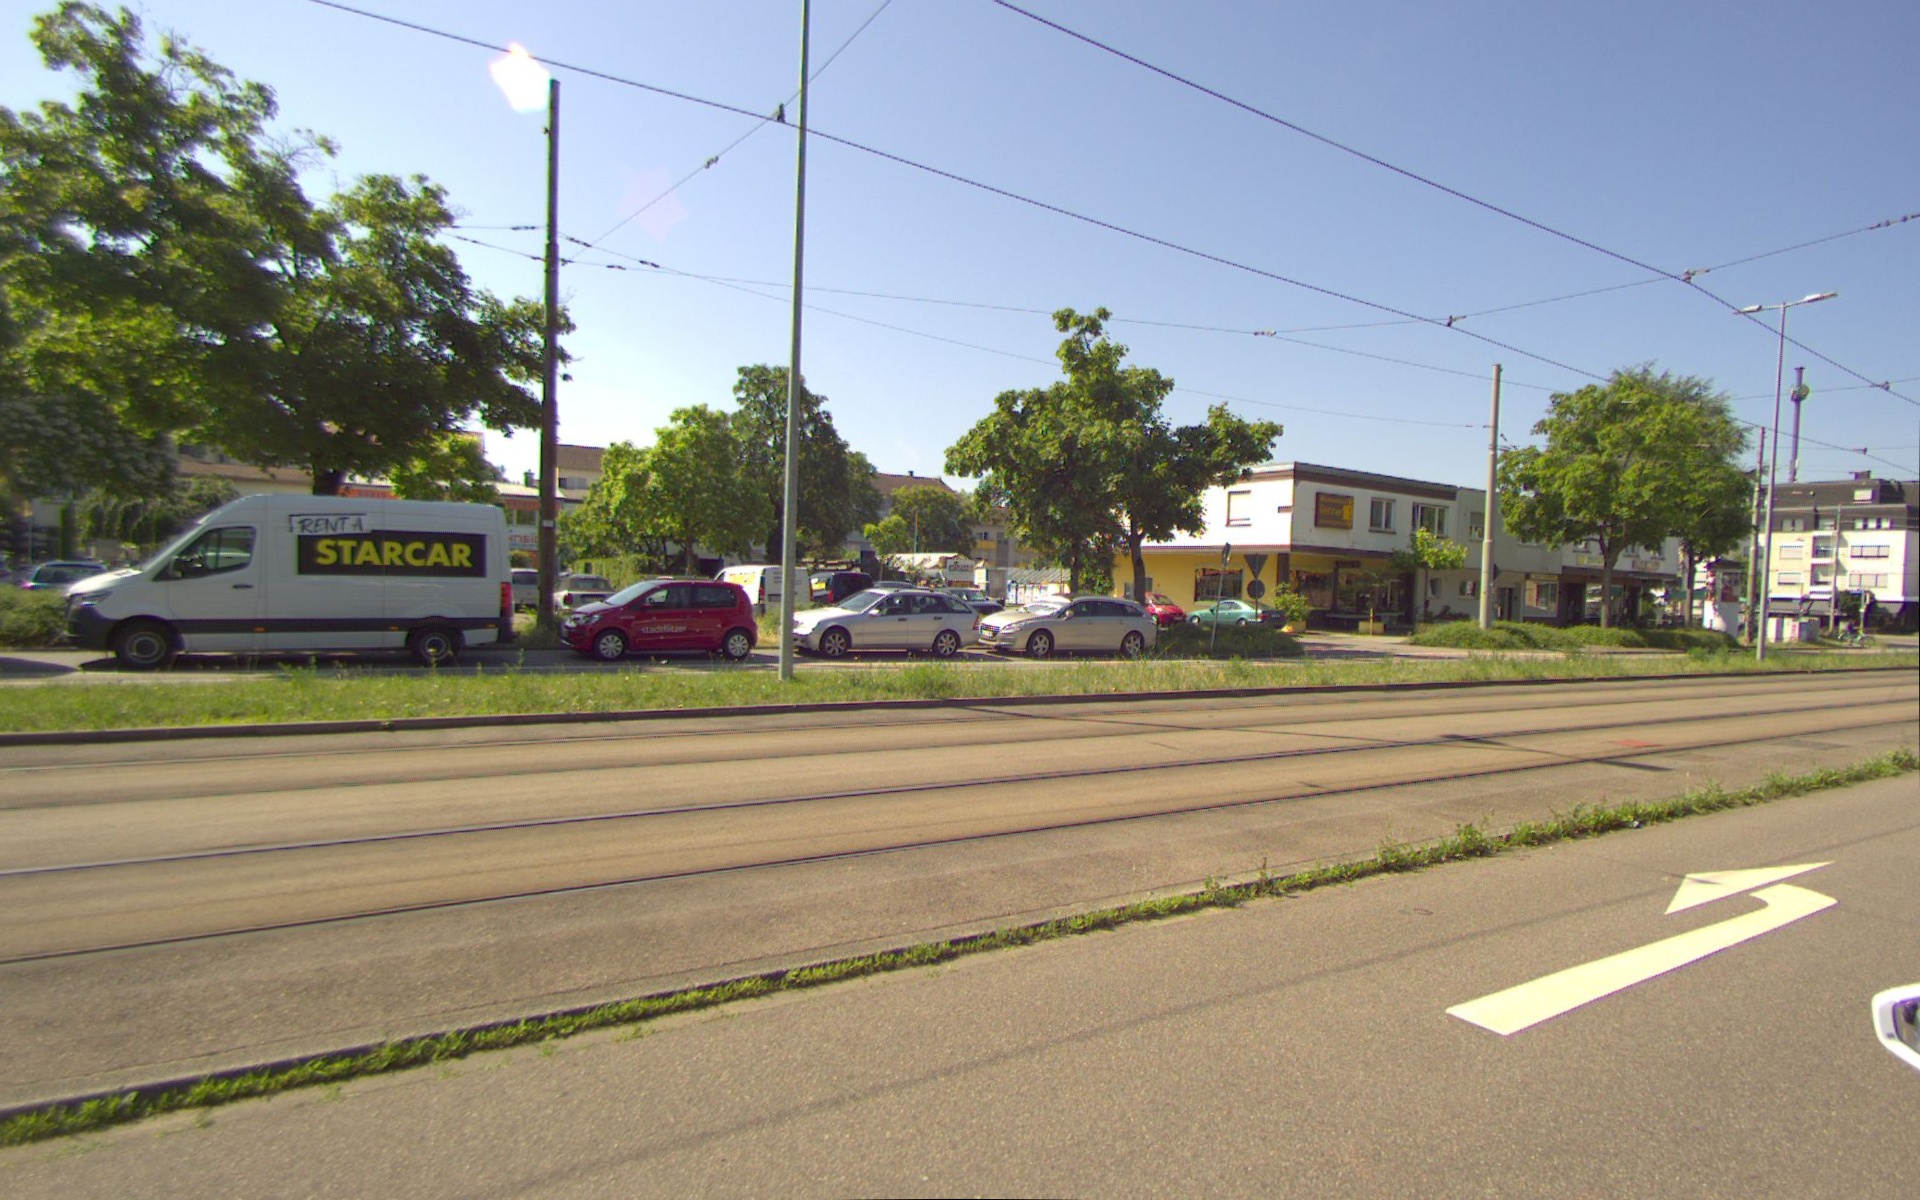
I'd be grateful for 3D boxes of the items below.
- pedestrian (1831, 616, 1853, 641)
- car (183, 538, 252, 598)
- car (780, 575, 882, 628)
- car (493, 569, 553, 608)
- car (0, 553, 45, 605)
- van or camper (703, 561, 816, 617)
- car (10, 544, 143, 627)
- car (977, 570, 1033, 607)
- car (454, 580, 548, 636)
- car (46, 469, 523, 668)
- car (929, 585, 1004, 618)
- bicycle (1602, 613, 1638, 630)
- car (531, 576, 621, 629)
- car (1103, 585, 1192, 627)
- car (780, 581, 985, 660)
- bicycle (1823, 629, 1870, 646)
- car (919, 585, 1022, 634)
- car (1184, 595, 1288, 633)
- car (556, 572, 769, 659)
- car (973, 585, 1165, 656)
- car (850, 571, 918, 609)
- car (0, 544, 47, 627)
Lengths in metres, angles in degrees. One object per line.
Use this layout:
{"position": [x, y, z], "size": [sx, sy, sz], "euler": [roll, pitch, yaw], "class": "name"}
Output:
{"position": [54.353, 1.744, 61.877], "size": [0.799, 1.507, 0.566], "euler": [2, 1, 12], "class": "pedestrian"}
{"position": [-27.183, -1.148, 36.876], "size": [1.892, 2.030, 3.960], "euler": [1, 1, -35], "class": "car"}
{"position": [-4.226, 0.031, 32.420], "size": [1.646, 1.584, 3.962], "euler": [1, 0, -34], "class": "car"}
{"position": [-17.196, -0.469, 39.430], "size": [1.516, 1.444, 3.822], "euler": [1, 1, -34], "class": "car"}
{"position": [-30.344, -0.695, 31.633], "size": [1.768, 1.565, 3.960], "euler": [1, 1, -35], "class": "car"}
{"position": [-6.233, -0.345, 30.909], "size": [1.859, 1.584, 3.957], "euler": [1, 0, -37], "class": "van or camper"}
{"position": [-20.168, -0.339, 23.091], "size": [1.645, 1.717, 3.964], "euler": [1, 1, -32], "class": "car"}
{"position": [2.965, -0.774, 66.894], "size": [3.376, 2.306, 1.475], "euler": [1, 1, -23], "class": "car"}
{"position": [-12.486, 0.189, 27.201], "size": [1.643, 1.389, 3.961], "euler": [1, 0, -34], "class": "car"}
{"position": [-10.345, -0.437, 16.007], "size": [5.913, 2.666, 2.183], "euler": [1, 3, -33], "class": "car"}
{"position": [0.284, 0.058, 50.213], "size": [1.891, 1.554, 3.963], "euler": [1, 1, -33], "class": "car"}
{"position": [36.959, 1.210, 56.251], "size": [2.364, 0.900, 0.779], "euler": [2, 1, -32], "class": "bicycle"}
{"position": [-11.042, 0.030, 28.732], "size": [1.474, 1.389, 3.960], "euler": [1, 0, -35], "class": "car"}
{"position": [8.598, 0.246, 46.298], "size": [1.678, 1.758, 4.125], "euler": [1, 1, -31], "class": "car"}
{"position": [-1.609, 0.429, 21.725], "size": [4.304, 1.510, 1.284], "euler": [1, 3, -33], "class": "car"}
{"position": [54.130, 2.299, 61.344], "size": [2.133, 0.934, 0.553], "euler": [2, 1, 11], "class": "bicycle"}
{"position": [0.321, 0.306, 35.248], "size": [1.646, 1.584, 3.962], "euler": [1, 0, -34], "class": "car"}
{"position": [11.336, 0.567, 41.564], "size": [1.678, 1.362, 4.125], "euler": [1, 1, -31], "class": "car"}
{"position": [-5.585, 0.287, 19.023], "size": [3.639, 1.510, 1.283], "euler": [1, 1, -35], "class": "car"}
{"position": [2.696, 0.499, 24.456], "size": [4.565, 1.510, 1.595], "euler": [1, 3, -31], "class": "car"}
{"position": [-4.813, -0.653, 62.977], "size": [2.079, 2.203, 4.897], "euler": [1, 1, -35], "class": "car"}
{"position": [-21.624, -0.362, 22.043], "size": [1.645, 1.717, 3.964], "euler": [1, 1, -32], "class": "car"}
